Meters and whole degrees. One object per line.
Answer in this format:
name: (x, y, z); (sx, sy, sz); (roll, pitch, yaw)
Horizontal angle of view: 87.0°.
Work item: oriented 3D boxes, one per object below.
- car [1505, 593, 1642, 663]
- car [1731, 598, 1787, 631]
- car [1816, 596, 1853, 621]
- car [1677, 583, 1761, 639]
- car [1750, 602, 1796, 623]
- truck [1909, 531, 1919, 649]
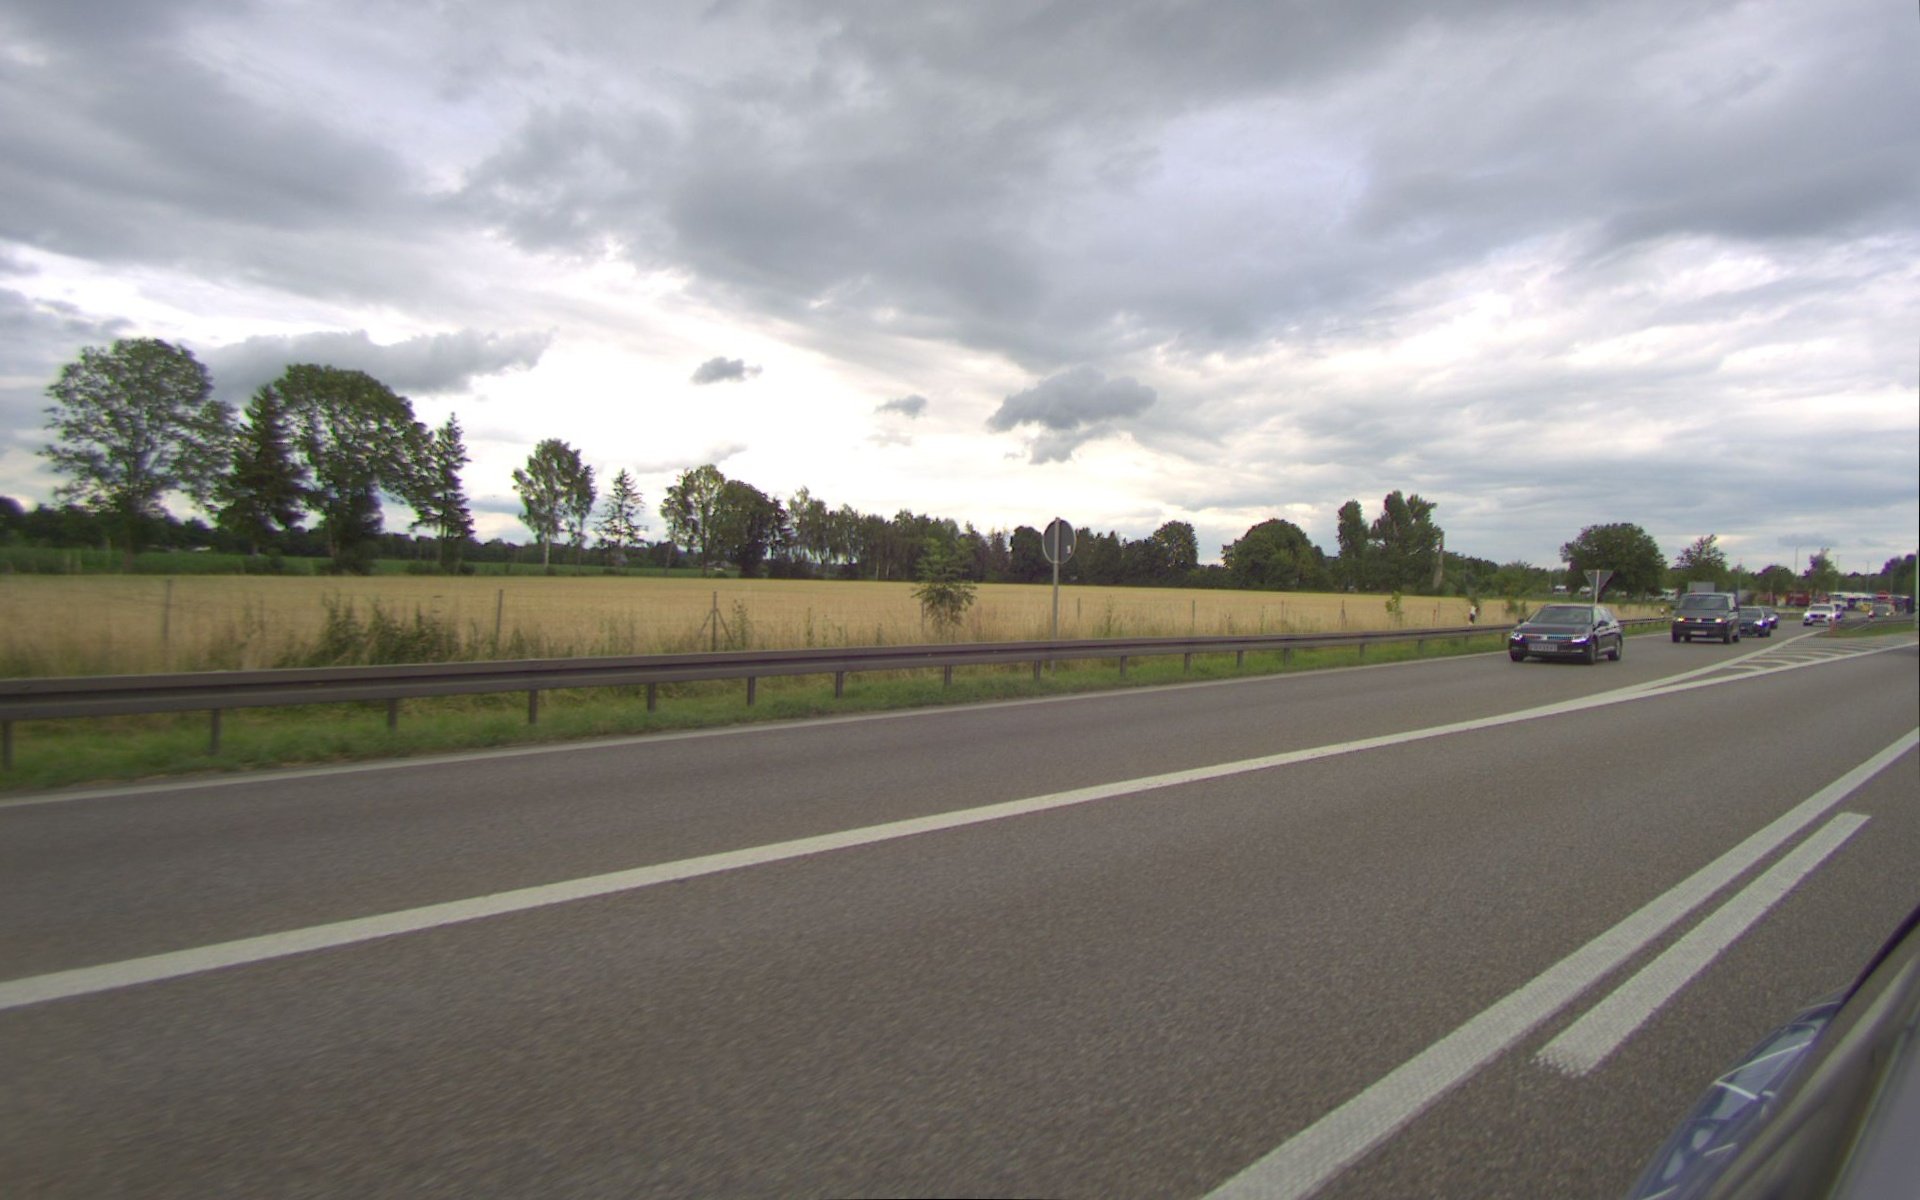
car: (15.796, 0.634, 25.942); (1.919, 1.569, 4.844); (3, 2, 44)
car: (38.245, 0.664, 48.401); (1.749, 1.503, 4.522); (0, 0, 43)
car: (68.256, 0.640, 78.965); (4.982, 1.779, 1.829); (0, 1, -45)
car: (30.313, 0.393, 40.353); (2.144, 2.089, 4.879); (0, 0, 44)
car: (54.260, 0.805, 67.505); (1.828, 1.333, 5.623); (0, 0, 44)
truck: (32.811, -0.286, 32.351); (8.904, 3.549, 2.774); (0, 0, -41)
